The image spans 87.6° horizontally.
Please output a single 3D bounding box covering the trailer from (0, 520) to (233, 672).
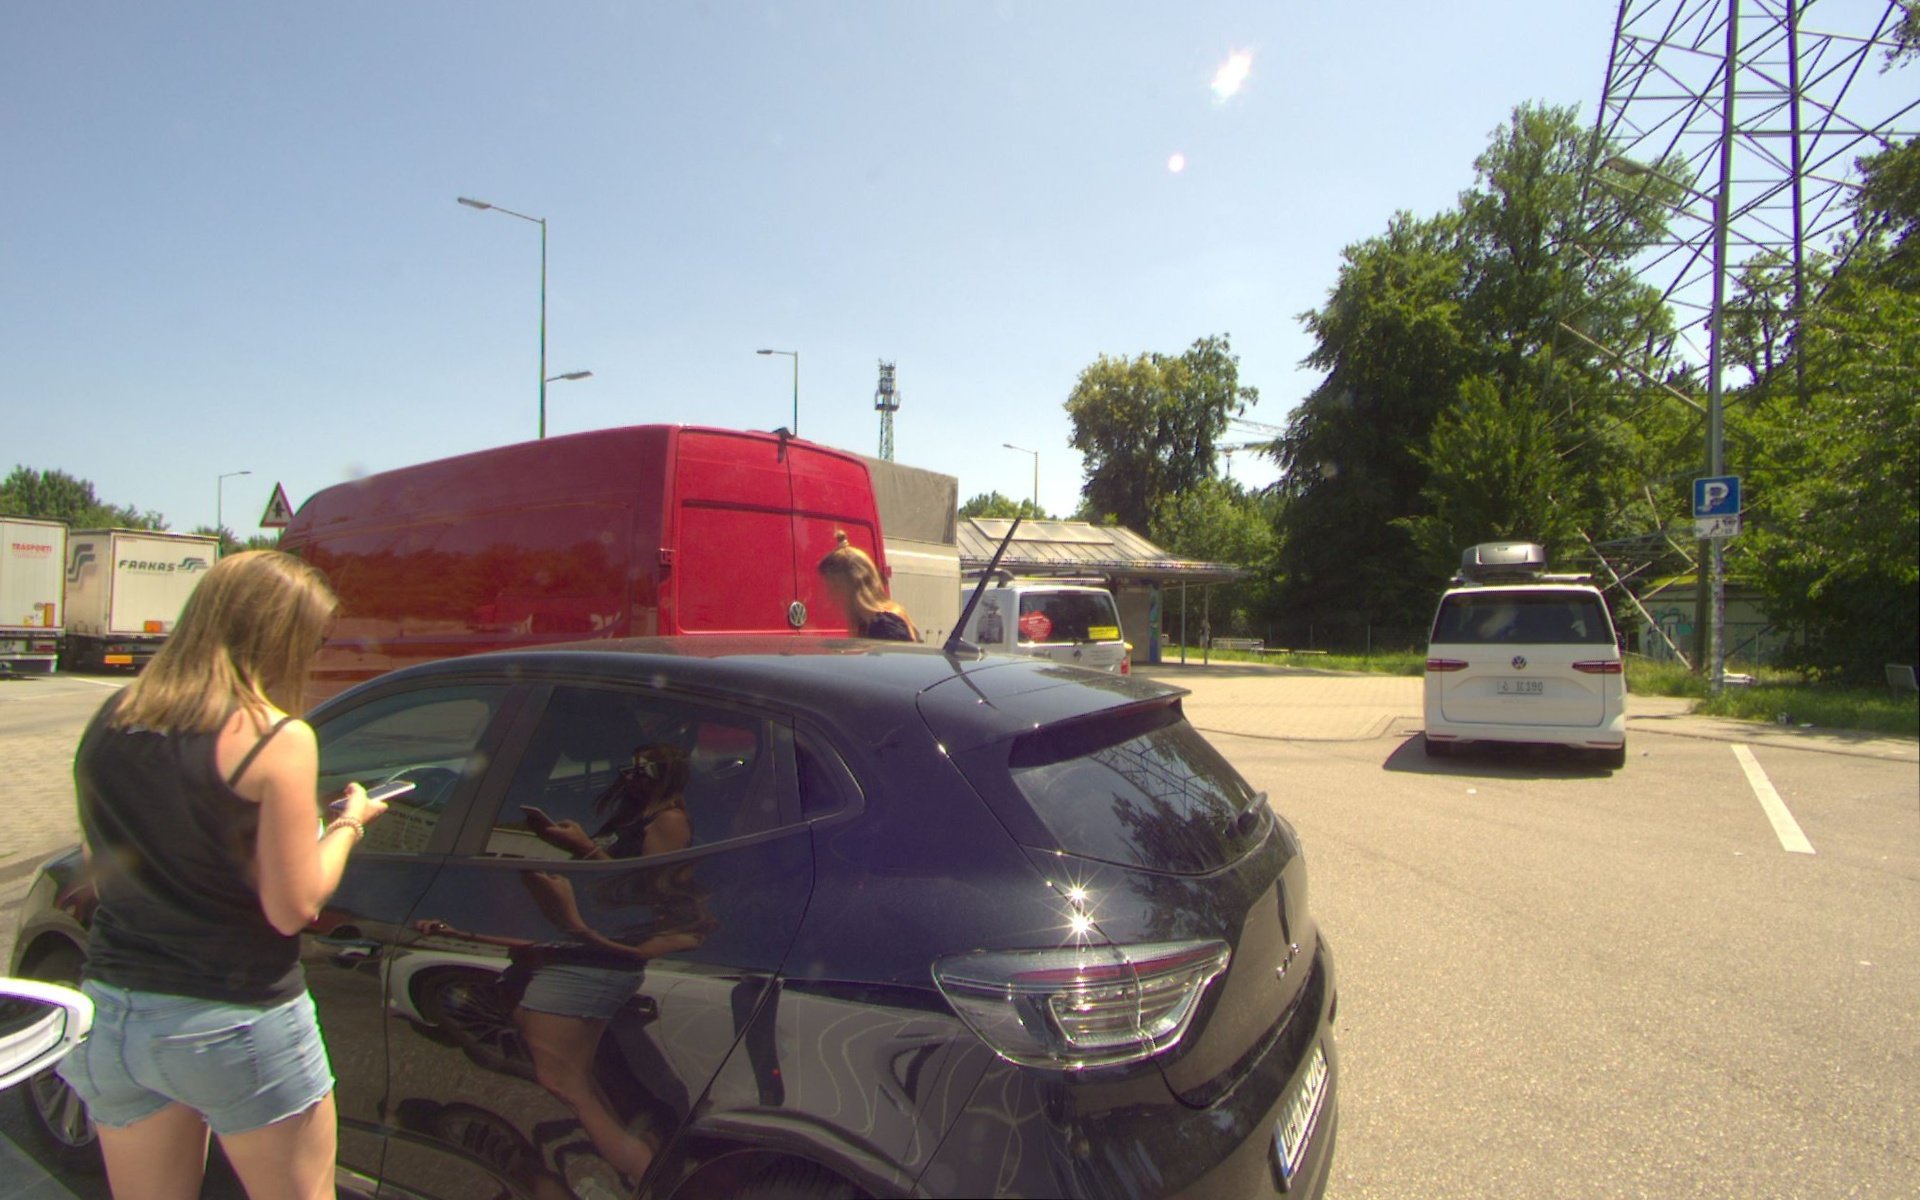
[{"bbox_3d":[-27.296,-0.199,31.451,12.255,4.090,2.862,2,-1,33],"label":"trailer"}]

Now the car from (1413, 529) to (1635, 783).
[{"bbox_3d":[6.538,0.571,11.546,1.892,2.354,4.074,-1,-1,32],"label":"car"}]

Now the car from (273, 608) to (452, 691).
[{"bbox_3d":[-12.638,0.979,21.115,3.896,1.582,1.837,0,-1,35],"label":"car"}]

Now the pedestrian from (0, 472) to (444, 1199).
[{"bbox_3d":[-1.284,0.642,1.710,0.645,1.606,0.645,1,-1,-32],"label":"pedestrian"}]

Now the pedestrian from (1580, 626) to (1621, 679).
[{"bbox_3d":[17.098,1.400,26.731,0.695,1.392,0.607,1,0,-8],"label":"pedestrian"}]

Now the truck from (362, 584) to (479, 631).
[{"bbox_3d":[-34.725,0.469,64.265,9.637,2.857,2.121,0,-1,33],"label":"truck"}]

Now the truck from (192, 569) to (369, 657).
[{"bbox_3d":[-31.696,0.508,46.463,11.255,3.615,2.484,2,-1,33],"label":"truck"}]

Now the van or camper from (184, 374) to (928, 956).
[{"bbox_3d":[-3.368,0.325,7.340,6.394,2.688,1.990,0,-1,36],"label":"van or camper"}]

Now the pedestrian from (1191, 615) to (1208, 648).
[{"bbox_3d":[10.977,1.440,45.877,0.577,1.536,0.592,1,0,-9],"label":"pedestrian"}]

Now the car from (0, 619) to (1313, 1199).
[{"bbox_3d":[-1.061,0.836,2.833,3.706,1.503,1.615,0,-1,27],"label":"car"}]

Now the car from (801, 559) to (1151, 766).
[{"bbox_3d":[-0.069,0.733,13.398,1.973,2.178,5.280,-3,0,-34],"label":"car"}]

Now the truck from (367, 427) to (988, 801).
[{"bbox_3d":[-3.263,0.135,10.546,6.874,2.828,2.460,0,-1,35],"label":"truck"}]

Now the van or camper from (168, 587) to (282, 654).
[{"bbox_3d":[-30.414,0.821,41.372,5.296,2.595,2.100,0,-1,34],"label":"van or camper"}]

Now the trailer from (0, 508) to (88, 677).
[{"bbox_3d":[-28.357,-0.330,27.786,12.255,4.090,2.862,2,-1,33],"label":"trailer"}]

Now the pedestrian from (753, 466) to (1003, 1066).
[{"bbox_3d":[-0.348,0.540,3.704,0.760,1.896,0.916,1,0,-14],"label":"pedestrian"}]
